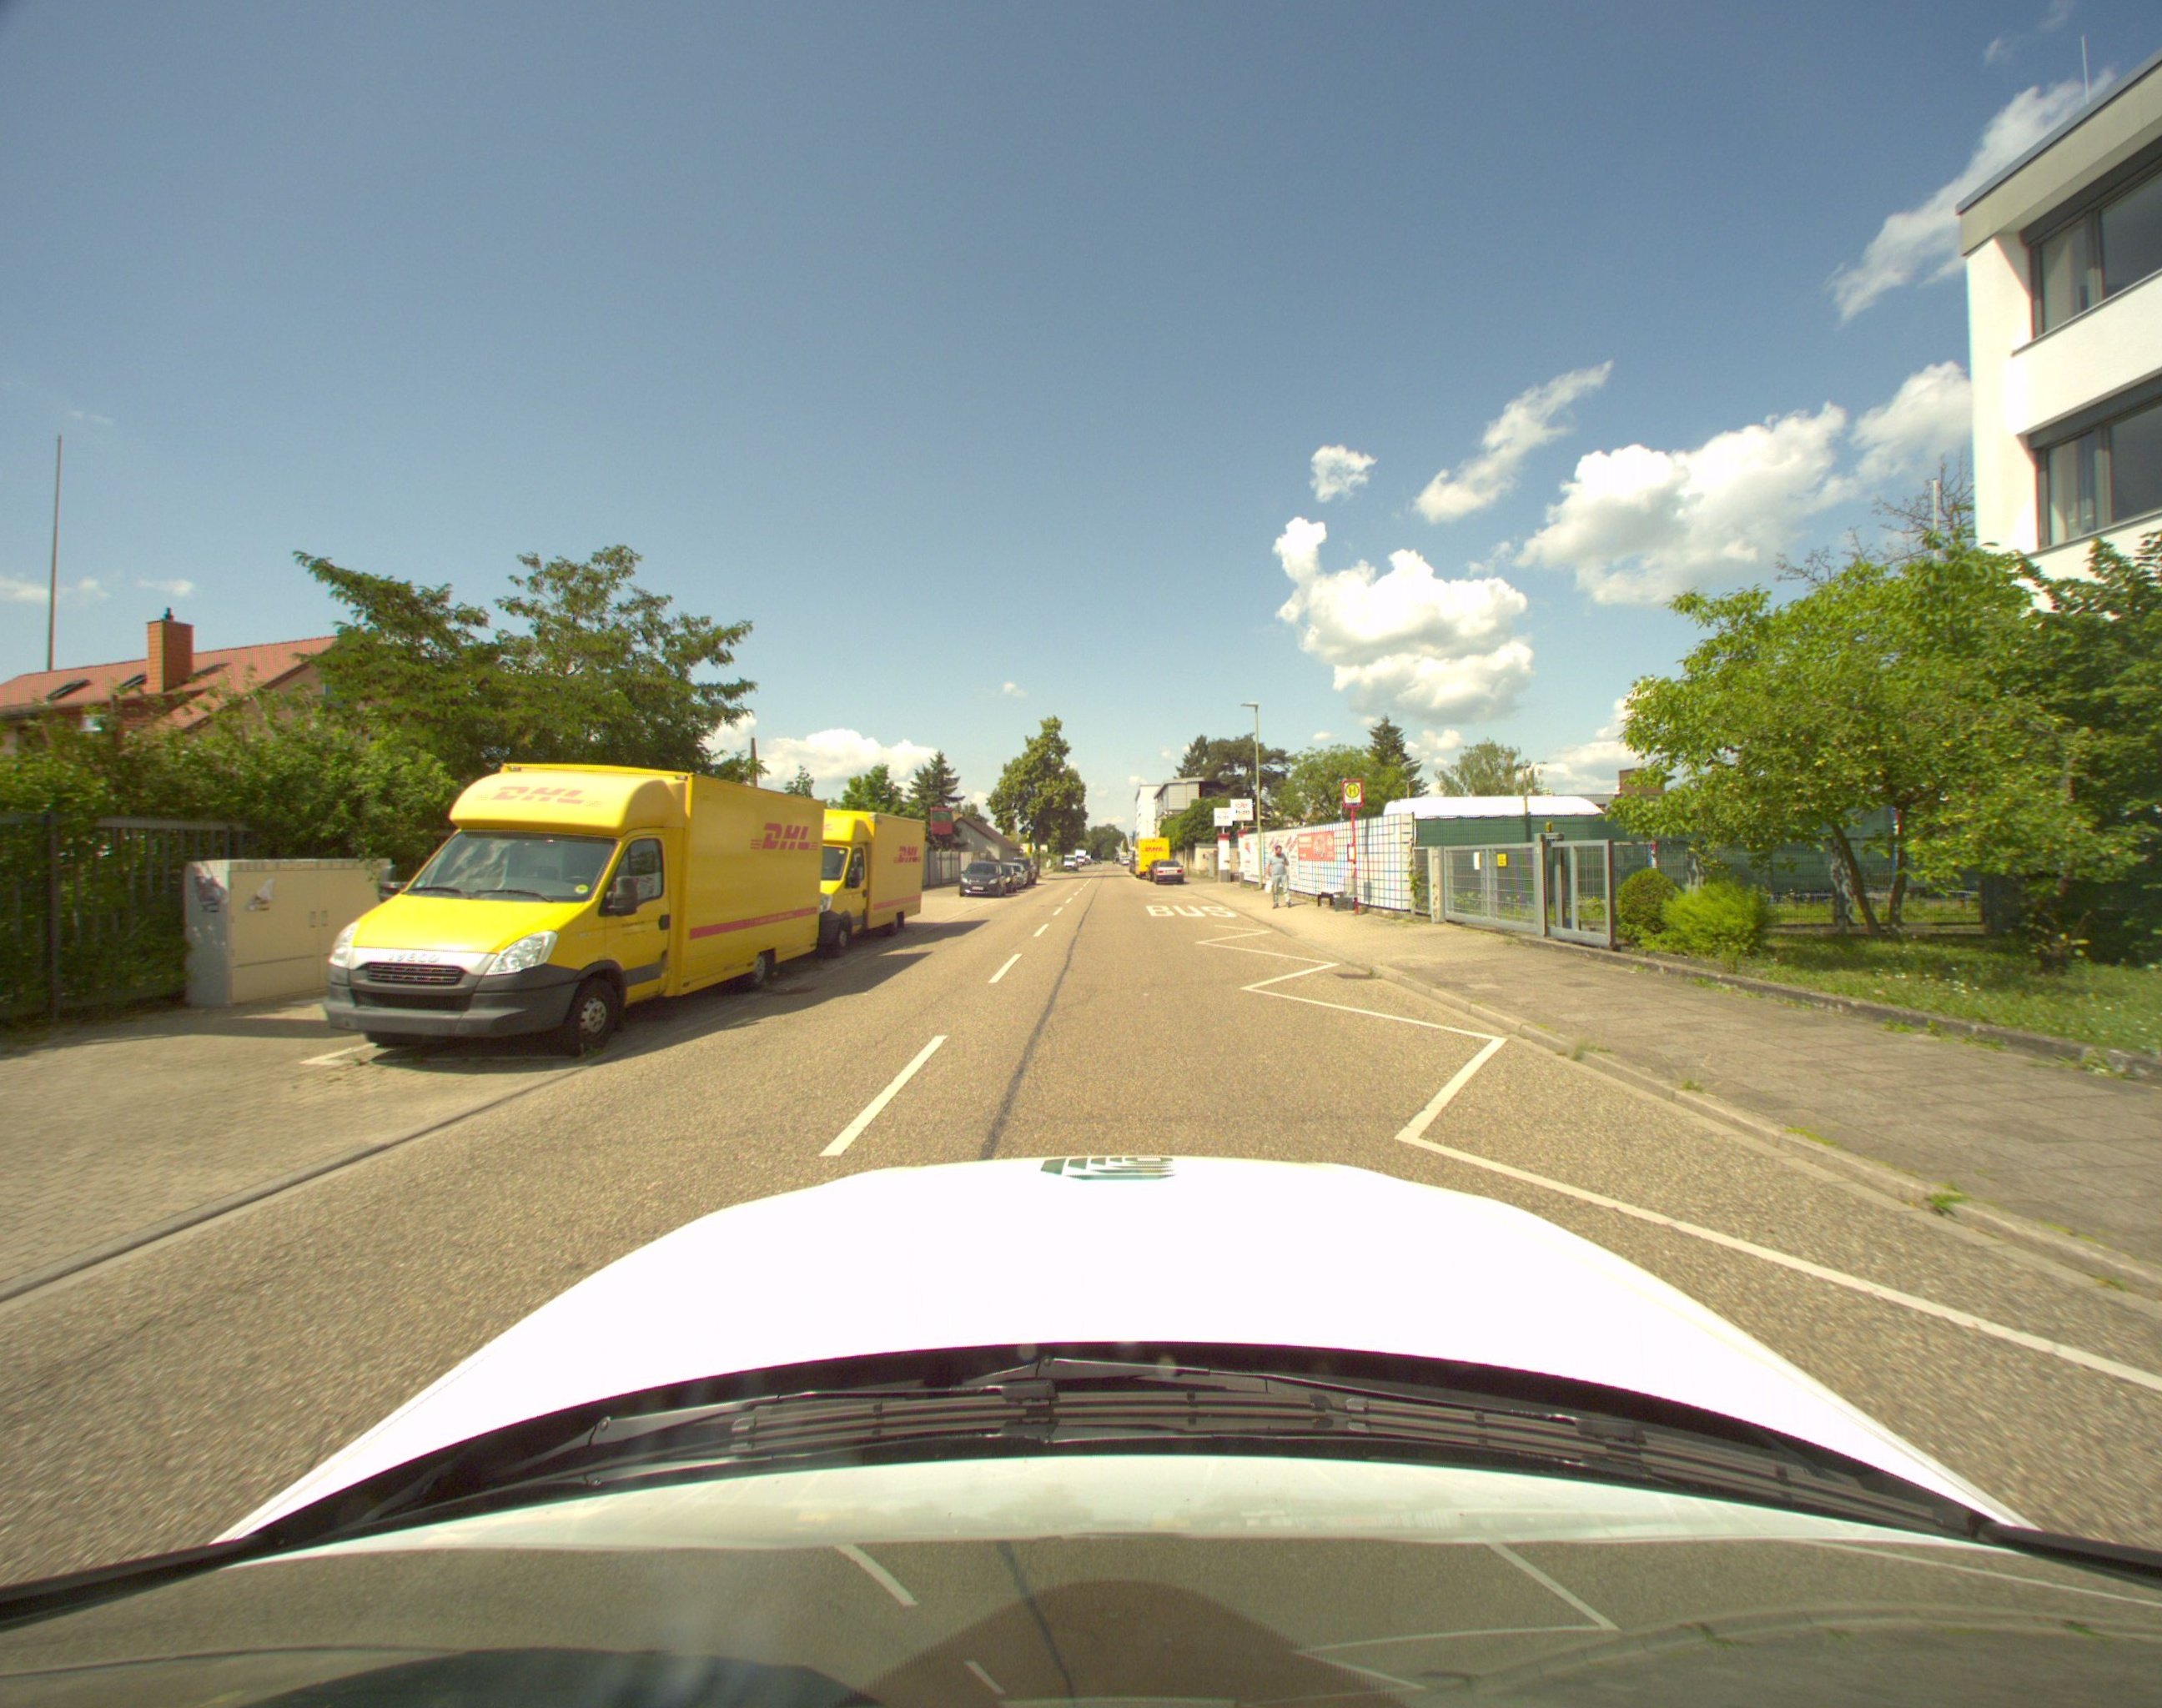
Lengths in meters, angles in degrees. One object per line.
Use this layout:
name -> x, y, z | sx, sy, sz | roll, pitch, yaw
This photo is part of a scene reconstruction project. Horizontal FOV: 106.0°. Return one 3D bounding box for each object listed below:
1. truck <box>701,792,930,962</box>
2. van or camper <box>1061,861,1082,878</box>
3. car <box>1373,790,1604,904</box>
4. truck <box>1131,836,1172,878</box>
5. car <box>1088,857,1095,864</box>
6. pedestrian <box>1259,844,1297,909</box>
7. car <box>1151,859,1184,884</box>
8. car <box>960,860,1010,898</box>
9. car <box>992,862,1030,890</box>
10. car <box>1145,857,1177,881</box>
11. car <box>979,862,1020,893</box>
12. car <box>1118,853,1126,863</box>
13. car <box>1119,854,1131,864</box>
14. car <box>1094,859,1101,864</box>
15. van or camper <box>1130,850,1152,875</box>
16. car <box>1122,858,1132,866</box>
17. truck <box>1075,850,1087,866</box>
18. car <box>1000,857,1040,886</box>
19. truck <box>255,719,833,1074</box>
truck -> -5.202, 0.408, 17.504 | 2.307, 2.862, 7.107 | 1, 0, 2
van or camper -> -1.374, 2.229, 119.776 | 2.163, 2.413, 7.708 | -1, 0, 5
car -> 10.280, -0.172, 20.768 | 4.900, 2.652, 2.069 | -1, -1, -6
truck -> 5.082, 0.242, 59.912 | 2.466, 2.940, 7.189 | 0, 0, 1
car -> 2.677, 1.724, 205.058 | 1.706, 1.650, 4.002 | -2, 0, 2
pedestrian -> 5.471, 0.615, 22.609 | 0.714, 1.697, 0.522 | -7, -1, -3
car -> 5.087, 0.995, 48.210 | 1.645, 1.387, 4.425 | 0, 0, 2
car -> -4.372, 1.100, 37.571 | 1.718, 1.604, 4.414 | 2, 0, 0
car -> -4.104, 1.256, 48.290 | 1.727, 1.518, 4.744 | 1, 0, 1
car -> 5.150, 0.948, 52.824 | 1.656, 1.441, 4.283 | -1, 0, 0
car -> -4.227, 1.217, 42.780 | 1.622, 1.448, 4.027 | 3, 0, 1
car -> 8.907, 0.921, 176.541 | 1.701, 2.090, 4.001 | -2, 0, 1
car -> 8.935, 0.988, 166.099 | 2.208, 2.013, 5.488 | -2, 0, 2
car -> 4.335, 1.923, 210.700 | 1.648, 1.324, 4.418 | -2, 0, 2
van or camper -> 5.874, 0.821, 79.946 | 1.986, 2.291, 5.450 | 0, 0, 2
car -> 8.589, 1.505, 152.292 | 1.921, 1.310, 4.002 | -2, 0, 2
truck -> 0.040, 0.772, 164.786 | 2.021, 3.154, 6.503 | -2, 0, 2
car -> -3.961, 1.128, 53.843 | 1.910, 1.822, 4.790 | -1, -1, 4
truck -> -5.413, 0.389, 10.152 | 2.261, 2.855, 7.176 | 0, -1, 1
